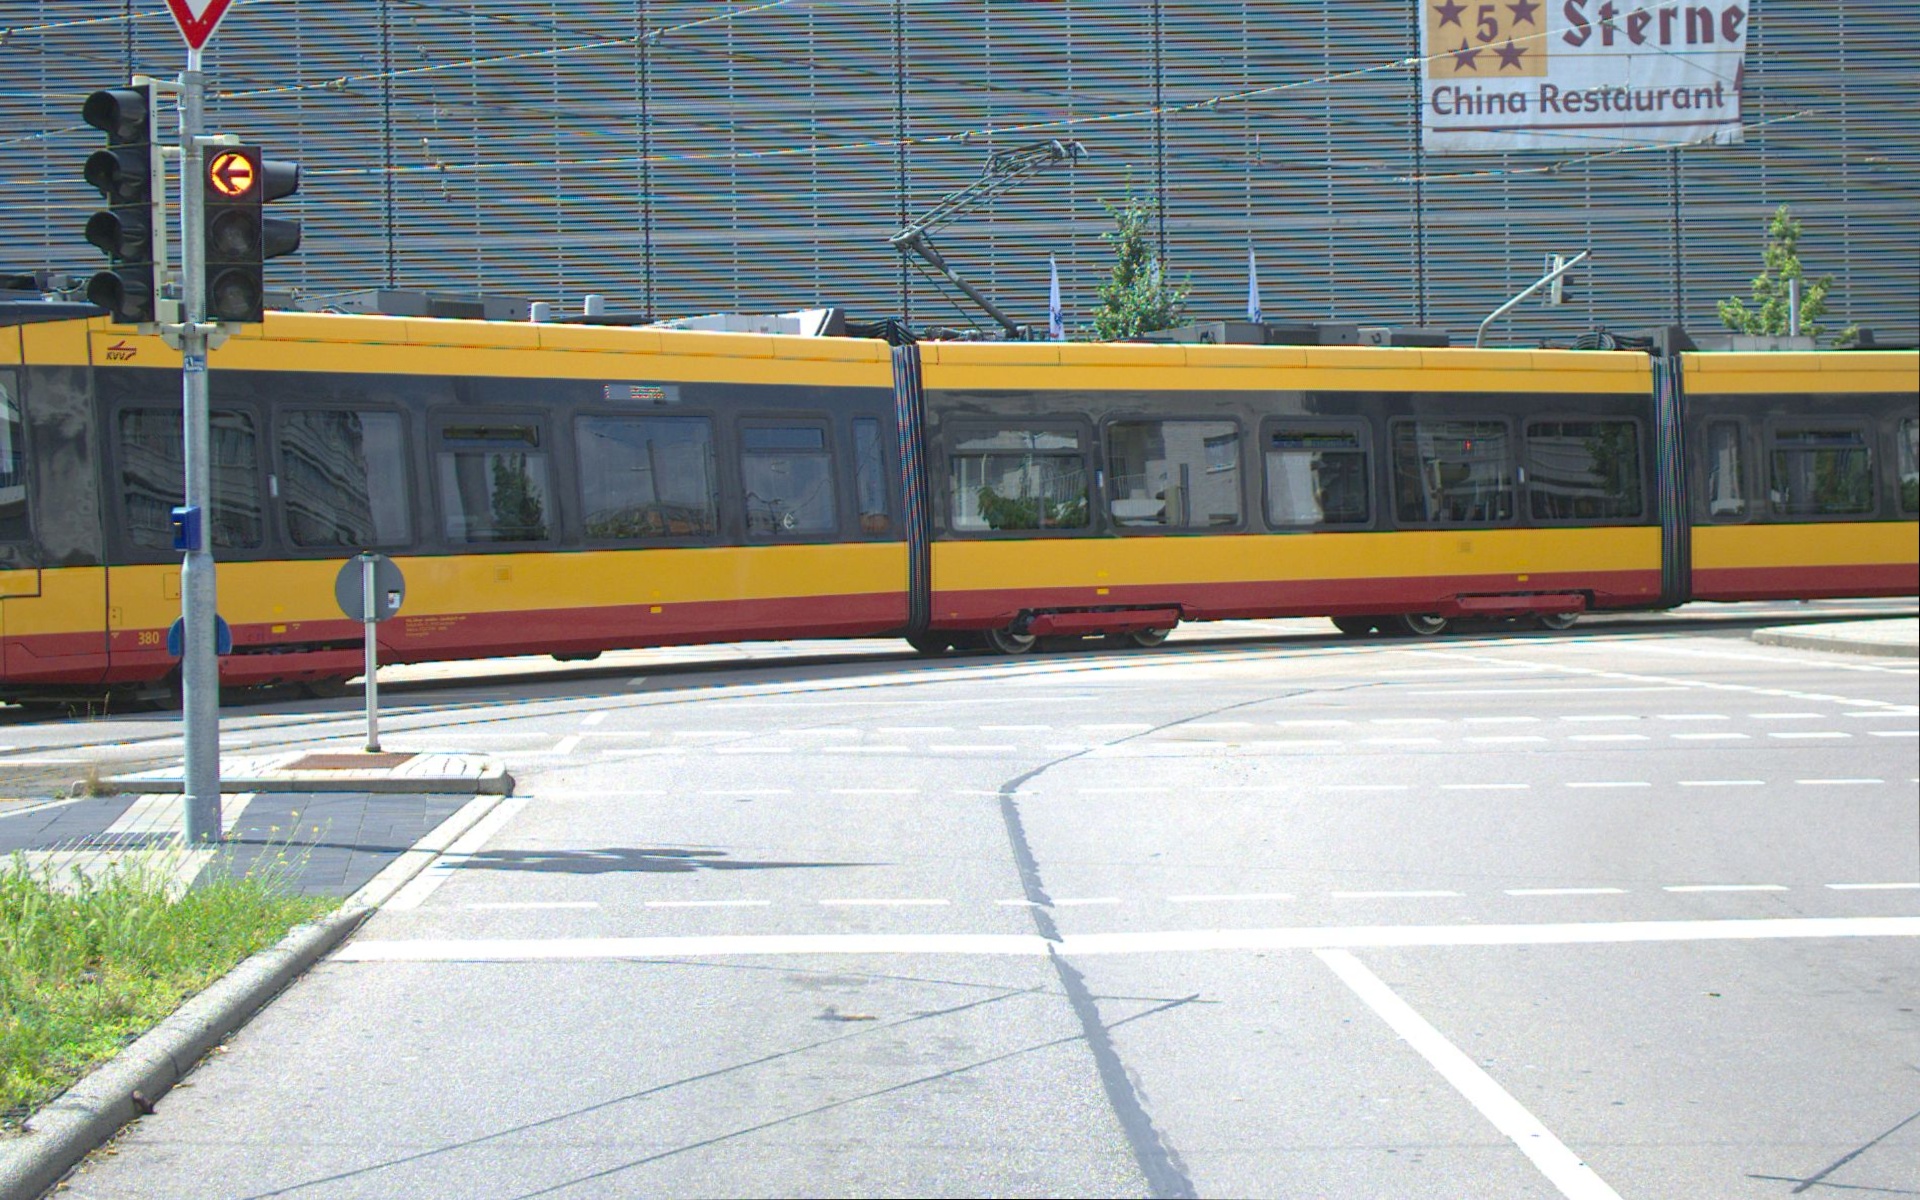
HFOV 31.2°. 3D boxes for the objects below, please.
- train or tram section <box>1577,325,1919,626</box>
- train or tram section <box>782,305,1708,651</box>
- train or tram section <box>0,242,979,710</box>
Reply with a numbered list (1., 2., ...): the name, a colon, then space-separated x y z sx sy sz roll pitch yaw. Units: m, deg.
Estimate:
1. train or tram section: 14.405 -1.602 44.576 12.590 3.608 3.066 -1 2 -17
2. train or tram section: 3.503 -1.390 39.791 10.957 3.590 3.065 -1 2 -31
3. train or tram section: -5.283 -1.100 31.534 3.223 3.587 13.470 1 2 39
